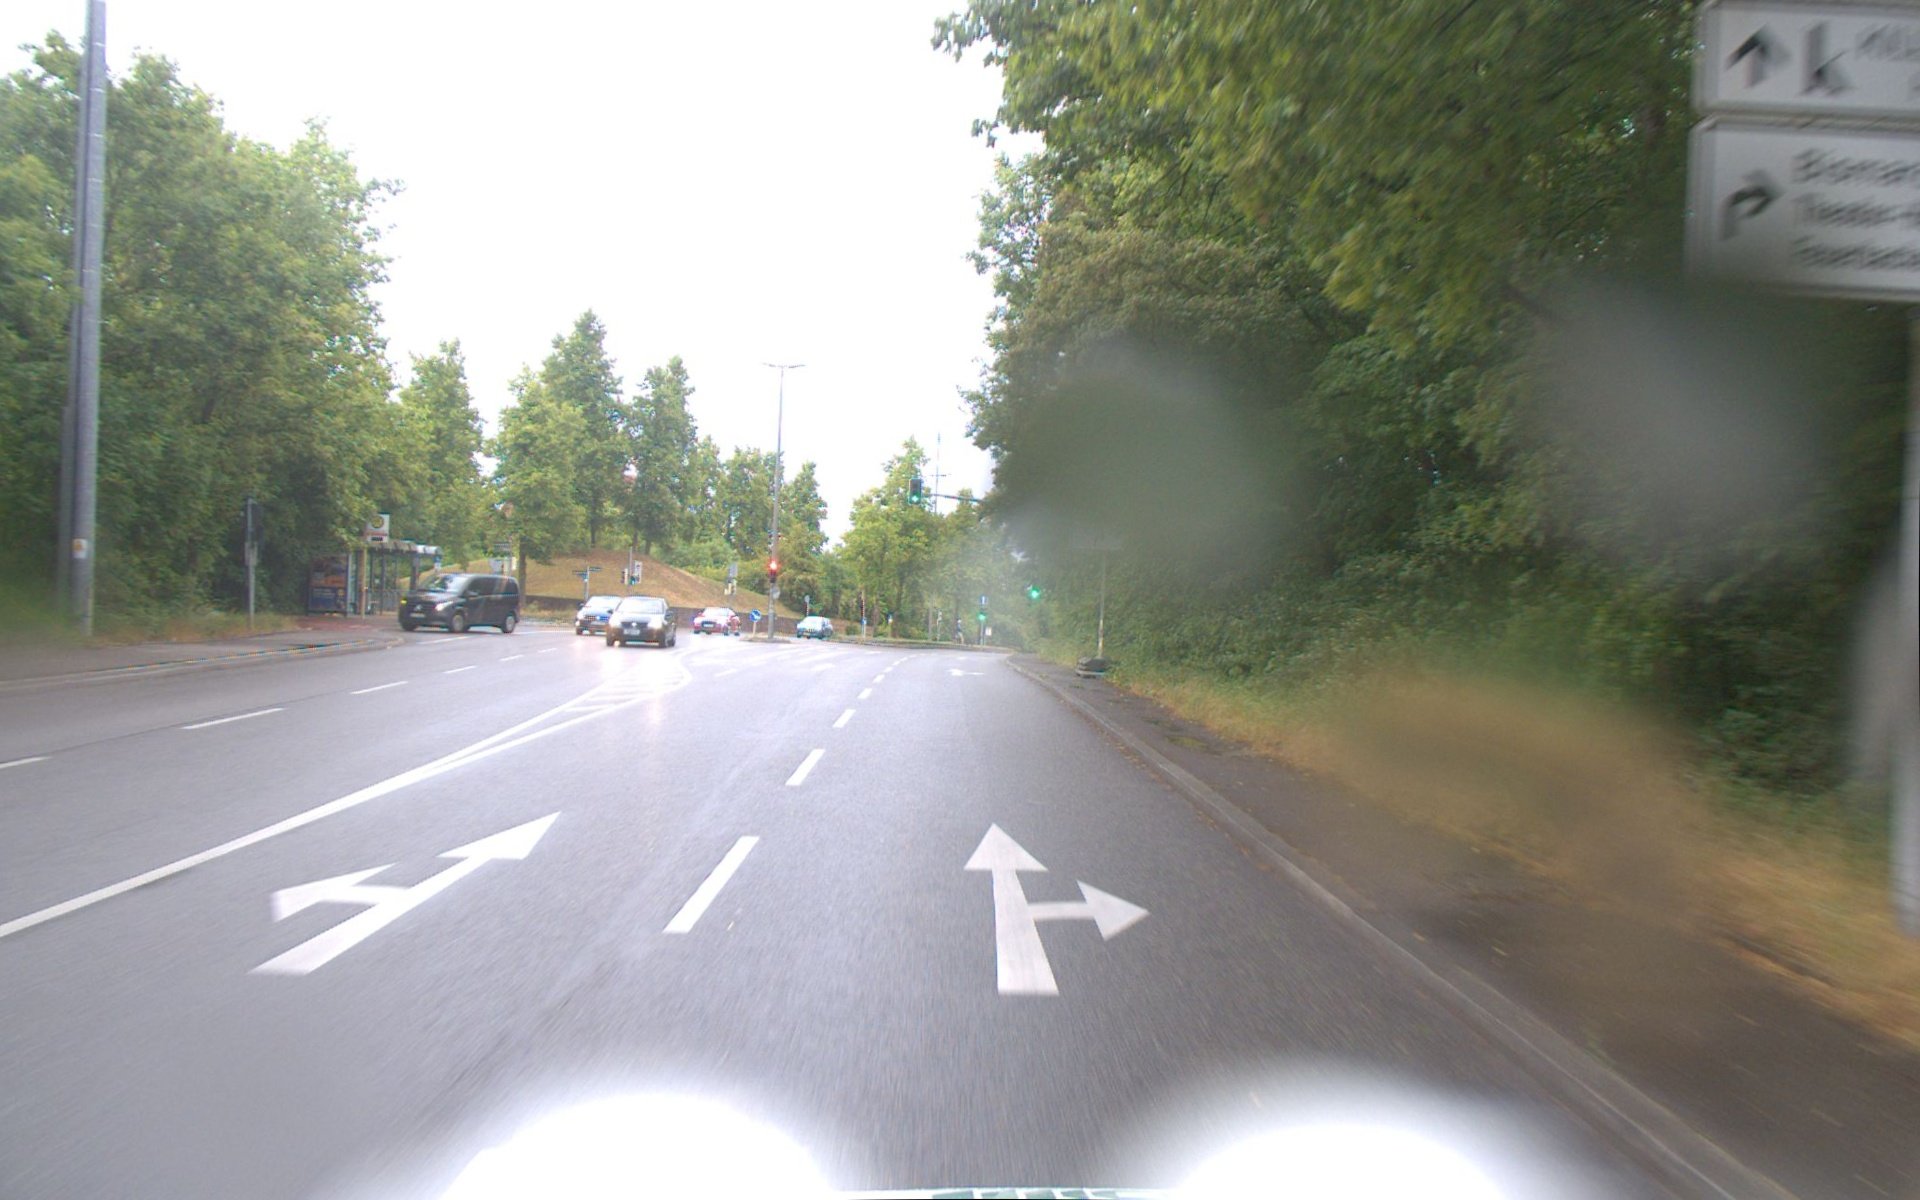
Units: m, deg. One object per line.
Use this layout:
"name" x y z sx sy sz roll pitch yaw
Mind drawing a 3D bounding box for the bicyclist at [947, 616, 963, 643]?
"bicyclist" -0.336 1.995 111.845 0.795 1.783 0.714 6 -6 -43

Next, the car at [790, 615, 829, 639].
"car" -9.749 1.719 107.294 1.952 1.517 3.938 0 -1 3

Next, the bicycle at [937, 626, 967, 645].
"bicycle" -0.533 2.372 111.588 2.122 1.163 0.545 5 -3 -43

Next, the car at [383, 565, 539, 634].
"car" -16.006 0.015 53.359 2.059 1.980 5.160 2 -1 20

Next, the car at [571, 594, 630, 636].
"car" -13.011 0.530 60.044 1.599 1.419 3.995 1 0 -5

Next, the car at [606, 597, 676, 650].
"car" -9.461 0.665 49.318 1.668 1.452 4.073 3 0 -6

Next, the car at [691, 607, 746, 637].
"car" -12.189 1.087 83.844 1.836 1.398 4.386 2 0 4
